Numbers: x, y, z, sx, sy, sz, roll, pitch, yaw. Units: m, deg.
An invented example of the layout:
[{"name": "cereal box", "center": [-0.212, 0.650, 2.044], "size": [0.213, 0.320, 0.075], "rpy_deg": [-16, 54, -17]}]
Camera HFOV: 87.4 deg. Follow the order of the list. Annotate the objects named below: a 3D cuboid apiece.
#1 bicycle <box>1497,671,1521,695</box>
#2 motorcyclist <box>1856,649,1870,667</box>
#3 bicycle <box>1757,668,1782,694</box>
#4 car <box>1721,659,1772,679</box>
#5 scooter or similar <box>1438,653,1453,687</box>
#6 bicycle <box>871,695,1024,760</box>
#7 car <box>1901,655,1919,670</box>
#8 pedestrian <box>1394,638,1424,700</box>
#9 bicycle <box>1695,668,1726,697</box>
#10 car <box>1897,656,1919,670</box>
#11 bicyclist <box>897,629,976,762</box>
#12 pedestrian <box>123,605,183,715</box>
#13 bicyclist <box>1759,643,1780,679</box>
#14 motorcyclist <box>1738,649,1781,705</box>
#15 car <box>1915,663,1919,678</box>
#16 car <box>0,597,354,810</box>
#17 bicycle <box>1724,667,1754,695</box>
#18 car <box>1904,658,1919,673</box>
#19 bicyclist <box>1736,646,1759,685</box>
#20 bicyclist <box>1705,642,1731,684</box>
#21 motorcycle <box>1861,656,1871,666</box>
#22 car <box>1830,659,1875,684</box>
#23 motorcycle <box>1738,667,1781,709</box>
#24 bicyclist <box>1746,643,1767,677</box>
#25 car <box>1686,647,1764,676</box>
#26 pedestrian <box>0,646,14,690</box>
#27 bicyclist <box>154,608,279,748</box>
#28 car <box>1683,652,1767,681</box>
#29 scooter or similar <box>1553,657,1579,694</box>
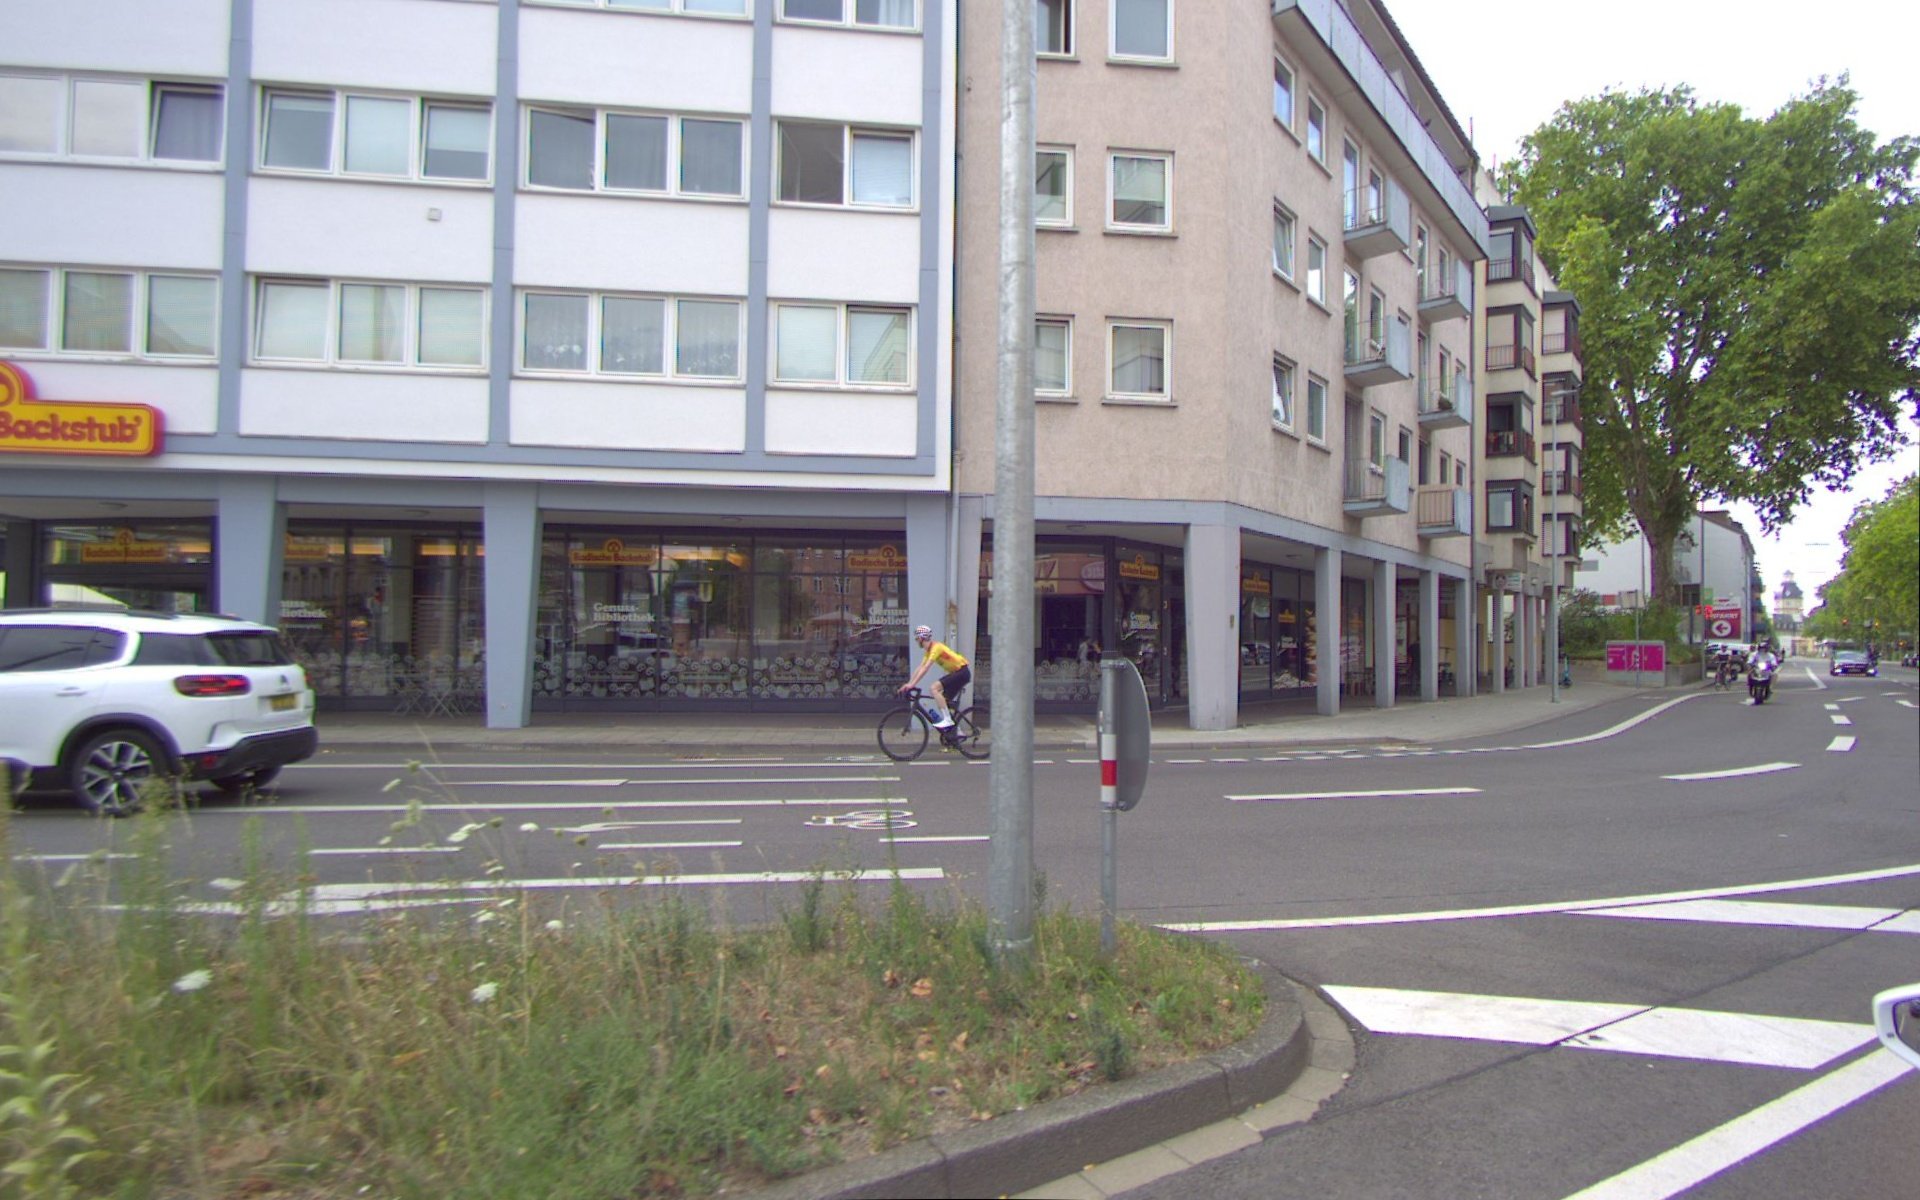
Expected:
[{"name": "bicycle", "center": [19.665, 2.960, 35.959], "size": [0.424, 0.832, 1.611], "rpy_deg": [-1, -3, 40]}, {"name": "motorcyclist", "center": [87.224, 5.581, 97.007], "size": [0.941, 1.682, 1.250], "rpy_deg": [-1, -3, 39]}, {"name": "bicycle", "center": [35.752, 3.577, 44.371], "size": [0.729, 1.020, 1.965], "rpy_deg": [1, -1, 43]}, {"name": "car", "center": [65.075, 5.710, 83.155], "size": [3.302, 1.516, 1.590], "rpy_deg": [1, -2, 39]}, {"name": "scooter or similar", "center": [18.207, 2.613, 37.689], "size": [0.282, 1.217, 1.172], "rpy_deg": [-1, -2, 36]}, {"name": "bicycle", "center": [-0.170, 1.657, 13.146], "size": [1.961, 0.805, 0.409], "rpy_deg": [1, -2, -8]}, {"name": "car", "center": [98.746, 6.469, 103.914], "size": [1.655, 1.412, 3.862], "rpy_deg": [-1, -3, 39]}, {"name": "pedestrian", "center": [13.229, 2.034, 29.603], "size": [0.574, 1.780, 0.780], "rpy_deg": [1, -2, 40]}, {"name": "bicycle", "center": [28.910, 3.163, 38.676], "size": [0.730, 1.020, 1.897], "rpy_deg": [1, -1, 44]}, {"name": "car", "center": [102.048, 6.738, 107.948], "size": [1.655, 1.412, 3.862], "rpy_deg": [-1, -3, 39]}, {"name": "bicyclist", "center": [-0.311, 1.219, 13.022], "size": [0.953, 1.671, 0.713], "rpy_deg": [1, -2, -7]}, {"name": "pedestrian", "center": [-13.417, 0.991, 16.714], "size": [0.578, 1.788, 0.477], "rpy_deg": [0, -2, -5]}, {"name": "bicyclist", "center": [35.997, 2.708, 44.664], "size": [0.650, 1.545, 0.851], "rpy_deg": [1, 0, 44]}, {"name": "motorcyclist", "center": [21.849, 2.110, 27.452], "size": [0.788, 1.479, 0.860], "rpy_deg": [-4, -6, 43]}, {"name": "car", "center": [89.072, 6.492, 92.208], "size": [1.620, 1.432, 3.404], "rpy_deg": [-1, -3, 36]}, {"name": "car", "center": [-8.060, 0.843, 8.816], "size": [4.244, 1.681, 1.836], "rpy_deg": [1, -2, -7]}, {"name": "bicycle", "center": [31.810, 3.300, 40.998], "size": [0.730, 1.020, 2.238], "rpy_deg": [1, -1, 44]}, {"name": "car", "center": [92.121, 6.285, 96.525], "size": [1.620, 1.413, 3.501], "rpy_deg": [1, -2, 36]}, {"name": "bicyclist", "center": [32.209, 2.673, 41.067], "size": [0.650, 1.545, 0.835], "rpy_deg": [1, 0, 44]}, {"name": "bicyclist", "center": [29.060, 2.418, 38.510], "size": [0.650, 1.545, 0.996], "rpy_deg": [1, 0, 44]}, {"name": "motorcycle", "center": [87.268, 5.888, 96.785], "size": [0.618, 0.942, 2.392], "rpy_deg": [-1, -3, 40]}, {"name": "car", "center": [52.799, 4.209, 59.485], "size": [1.789, 1.426, 4.588], "rpy_deg": [-2, -4, 40]}, {"name": "motorcycle", "center": [21.864, 2.401, 27.466], "size": [0.714, 1.109, 2.025], "rpy_deg": [-4, -6, 43]}, {"name": "bicyclist", "center": [38.088, 2.850, 48.026], "size": [0.650, 1.545, 1.070], "rpy_deg": [1, 0, 44]}, {"name": "car", "center": [56.859, 4.524, 74.683], "size": [4.475, 1.903, 2.036], "rpy_deg": [1, -2, 42]}, {"name": "pedestrian", "center": [-25.169, 1.783, 26.324], "size": [0.437, 1.148, 0.531], "rpy_deg": [2, -3, -34]}, {"name": "bicyclist", "center": [-9.102, 0.949, 12.327], "size": [1.017, 1.667, 0.610], "rpy_deg": [1, -2, -2]}, {"name": "car", "center": [49.830, 4.279, 65.463], "size": [4.208, 1.627, 1.958], "rpy_deg": [0, -1, 41]}, {"name": "scooter or similar", "center": [21.802, 2.703, 36.160], "size": [0.281, 1.281, 1.177], "rpy_deg": [0, -3, 3]}]
